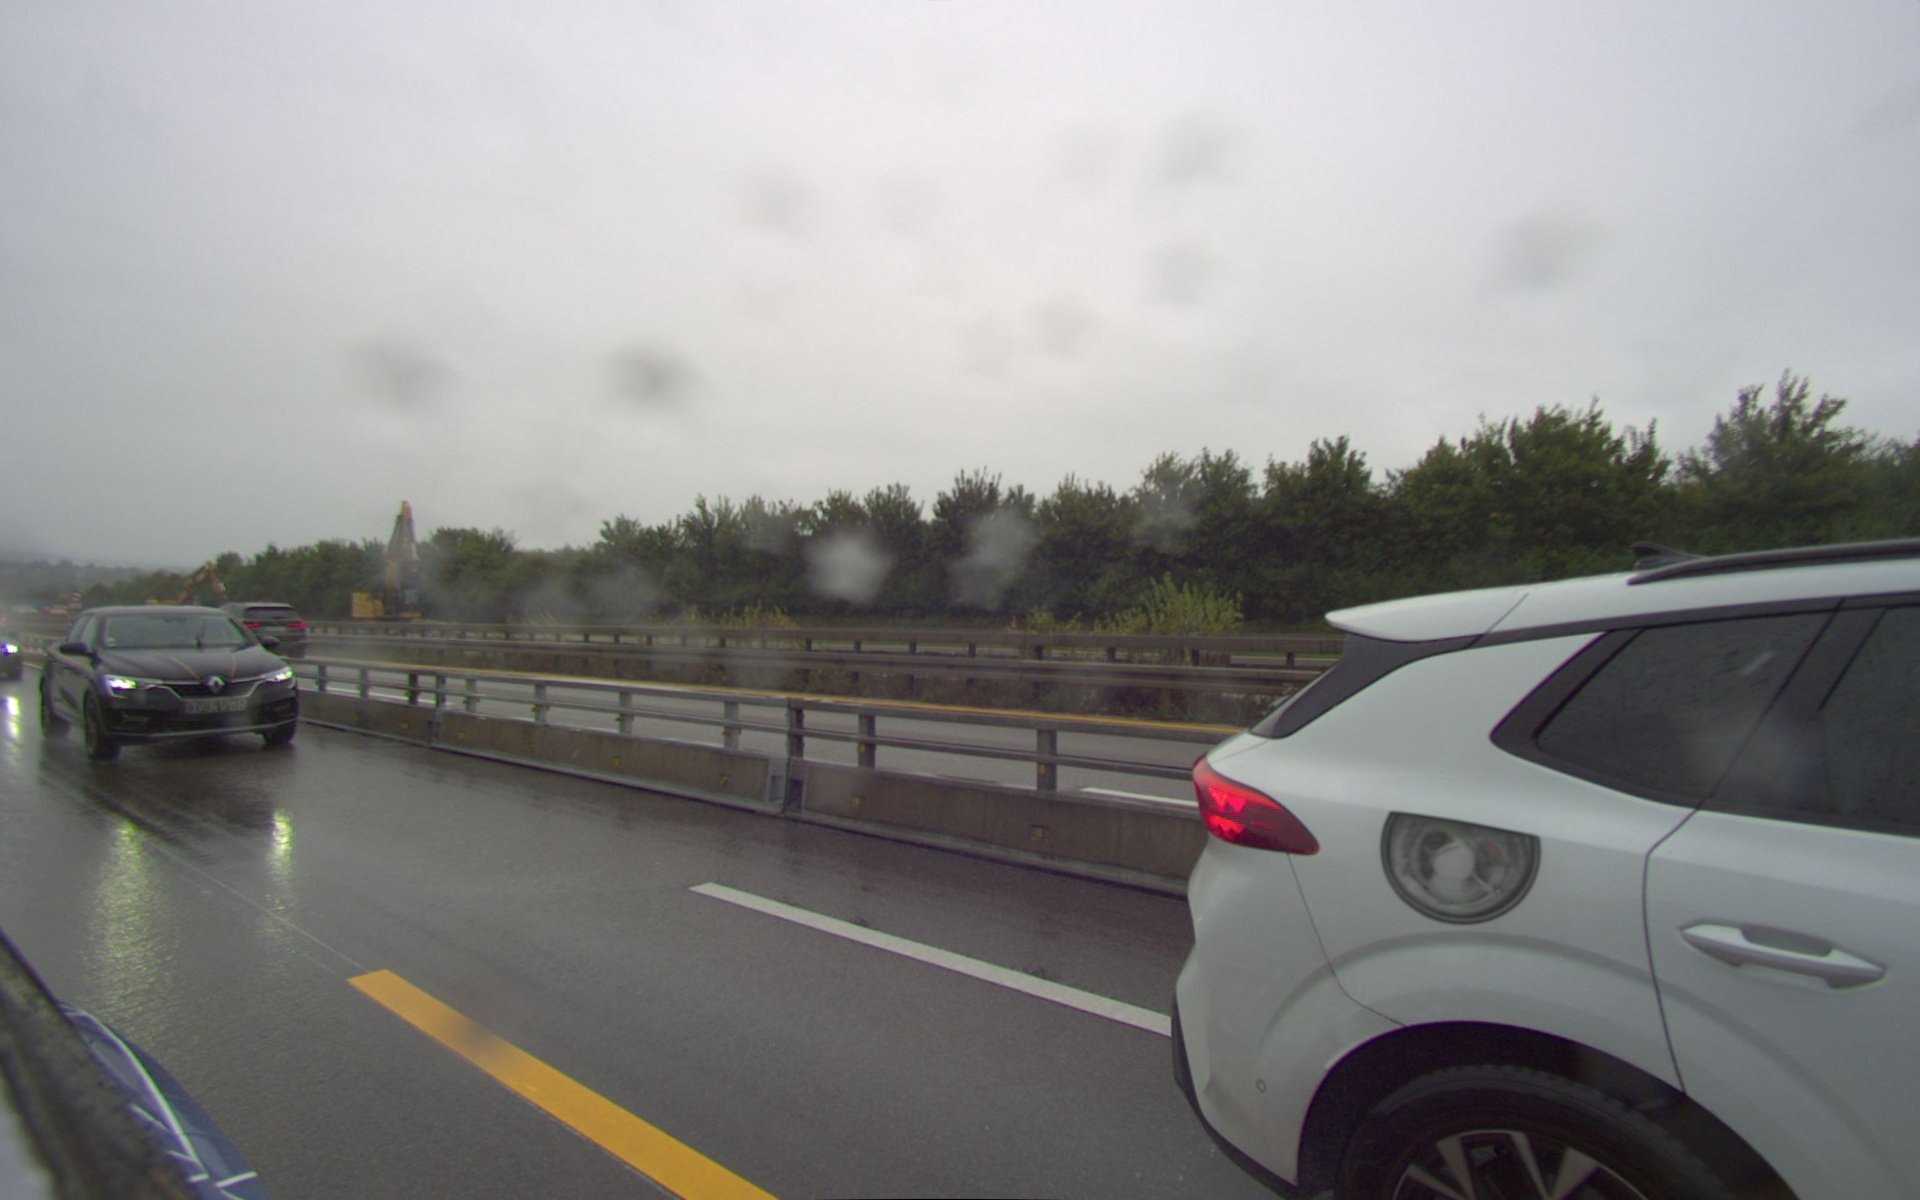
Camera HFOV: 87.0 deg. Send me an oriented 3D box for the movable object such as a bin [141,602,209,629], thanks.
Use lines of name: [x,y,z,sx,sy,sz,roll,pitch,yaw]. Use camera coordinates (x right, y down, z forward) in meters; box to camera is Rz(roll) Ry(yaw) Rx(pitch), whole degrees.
movable object such as a bin: [-70.087,1.345,90.318,5.087,2.312,3.410,-1,0,34]

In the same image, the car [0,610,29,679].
car: [-23.183,1.002,23.292,4.626,1.509,1.974,-1,0,40]

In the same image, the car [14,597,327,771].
car: [-9.095,0.788,11.520,4.410,1.597,1.973,-1,0,41]

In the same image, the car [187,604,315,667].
car: [-21.453,1.007,30.536,5.099,1.730,1.931,-1,0,40]

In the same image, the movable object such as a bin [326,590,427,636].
movable object such as a bin: [-37.459,0.809,64.902,6.326,2.819,3.726,-1,0,41]

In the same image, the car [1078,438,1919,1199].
car: [2.693,0.593,1.283,4.794,1.629,1.973,-1,0,41]

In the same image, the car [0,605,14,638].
car: [-55.746,1.243,57.899,5.053,1.820,1.872,-1,0,41]
